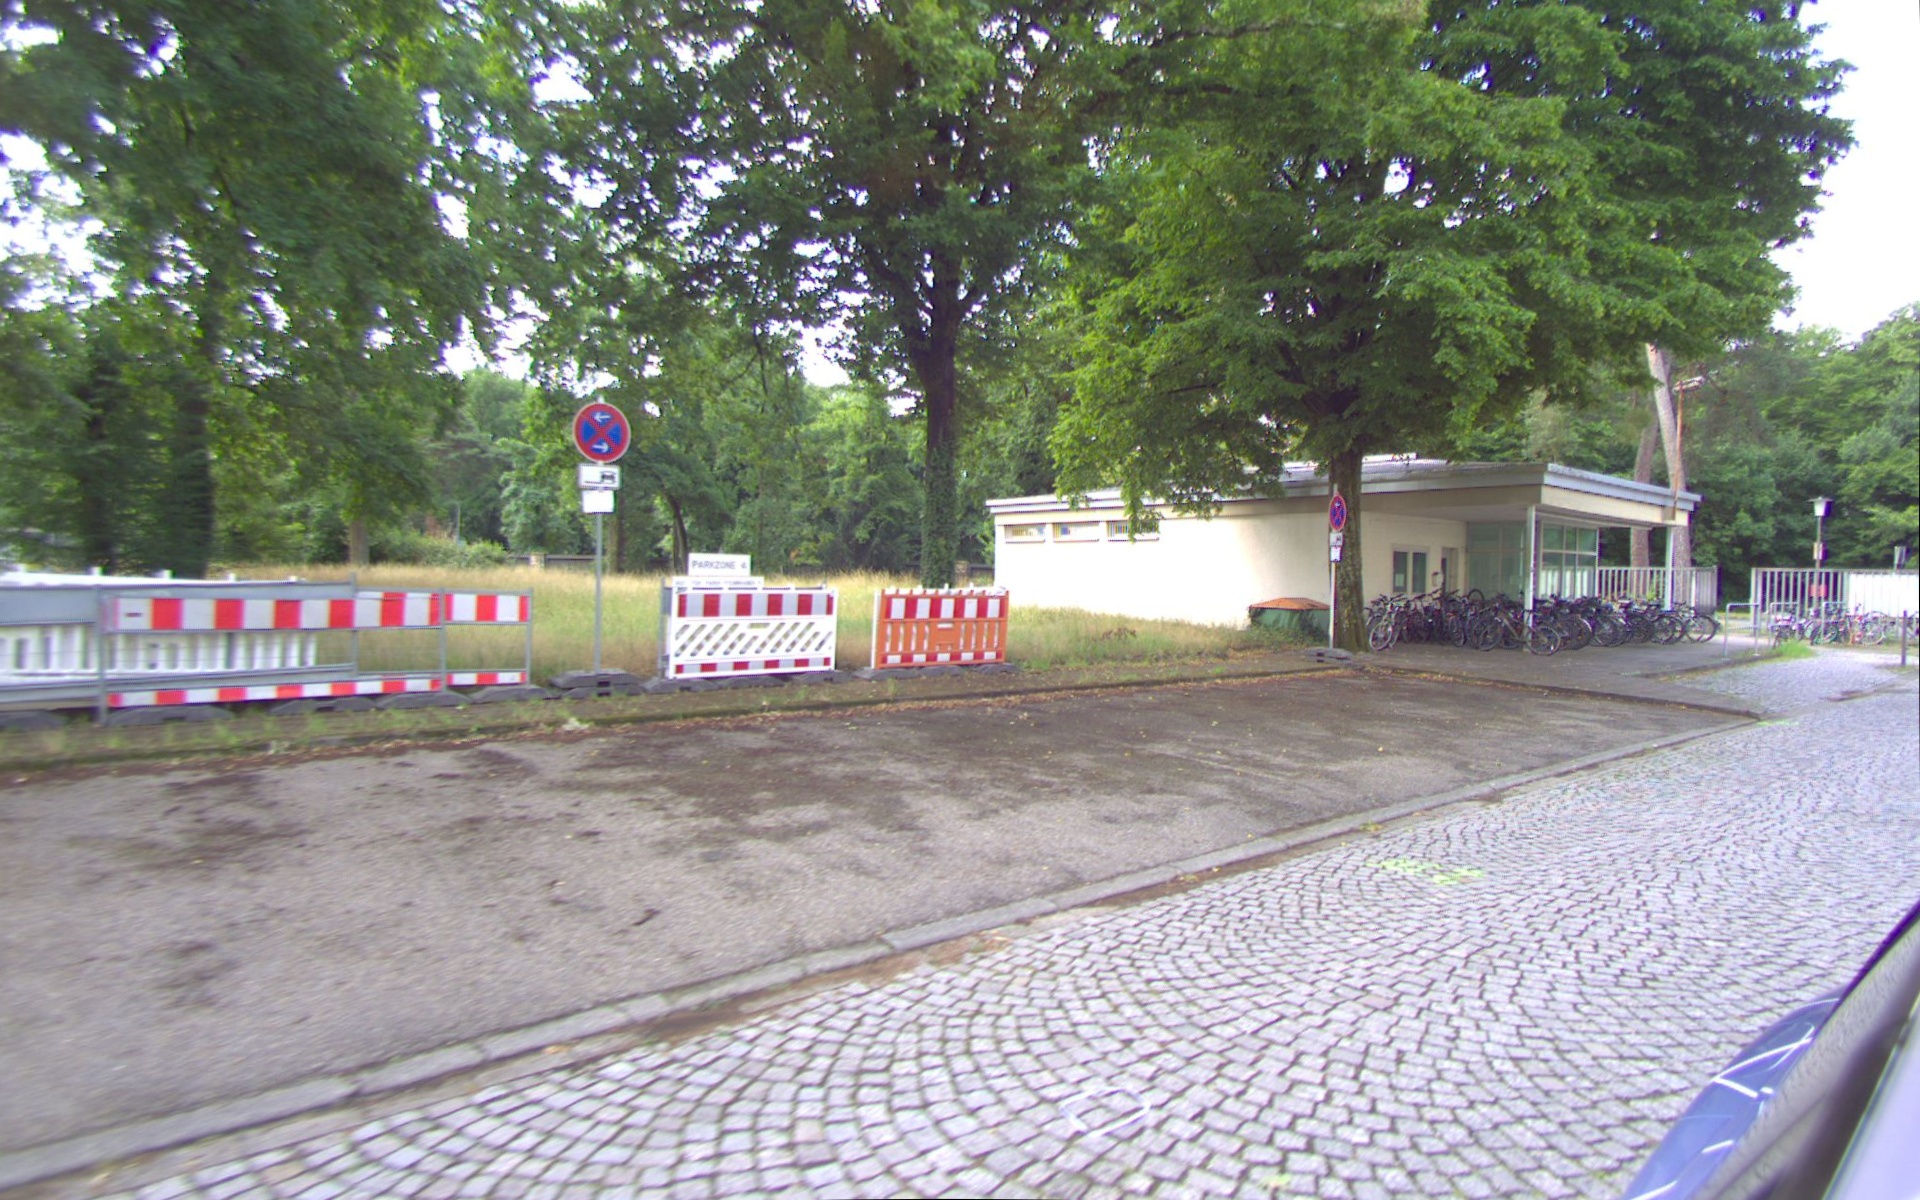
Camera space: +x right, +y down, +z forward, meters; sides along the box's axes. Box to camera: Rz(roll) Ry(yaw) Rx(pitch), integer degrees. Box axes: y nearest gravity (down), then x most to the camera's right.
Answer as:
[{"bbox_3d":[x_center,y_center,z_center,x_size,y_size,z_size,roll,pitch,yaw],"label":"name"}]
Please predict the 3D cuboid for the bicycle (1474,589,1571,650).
[{"bbox_3d":[11.567,0.384,20.834,1.673,1.122,0.334,4,3,38],"label":"bicycle"}]

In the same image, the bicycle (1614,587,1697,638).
[{"bbox_3d":[17.366,0.298,25.295,1.613,1.155,0.320,5,3,44],"label":"bicycle"}]

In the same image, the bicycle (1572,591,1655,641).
[{"bbox_3d":[15.678,0.371,24.313,1.592,1.062,0.320,5,3,44],"label":"bicycle"}]

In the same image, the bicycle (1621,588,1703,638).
[{"bbox_3d":[17.735,0.311,25.592,1.613,1.155,0.350,5,3,44],"label":"bicycle"}]

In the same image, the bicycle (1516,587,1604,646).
[{"bbox_3d":[13.548,0.348,22.882,1.627,1.204,0.414,4,3,39],"label":"bicycle"}]

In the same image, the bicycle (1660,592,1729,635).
[{"bbox_3d":[19.123,0.342,26.375,1.391,1.059,0.336,1,1,25],"label":"bicycle"}]

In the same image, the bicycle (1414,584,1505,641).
[{"bbox_3d":[11.472,0.277,23.297,0.598,1.179,1.743,0,3,-43],"label":"bicycle"}]

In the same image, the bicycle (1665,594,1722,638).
[{"bbox_3d":[18.876,0.396,26.052,1.144,1.076,0.284,2,1,30],"label":"bicycle"}]

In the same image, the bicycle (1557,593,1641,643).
[{"bbox_3d":[15.139,0.406,24.013,1.626,1.062,0.330,4,3,37],"label":"bicycle"}]

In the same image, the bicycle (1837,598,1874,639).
[{"bbox_3d":[24.637,0.487,27.849,1.701,1.070,0.474,0,2,-39],"label":"bicycle"}]

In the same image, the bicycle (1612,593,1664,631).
[{"bbox_3d":[18.950,0.342,28.284,1.328,1.023,0.406,1,1,-16],"label":"bicycle"}]

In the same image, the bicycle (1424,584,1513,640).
[{"bbox_3d":[12.050,0.266,24.019,0.598,1.179,1.743,0,3,-43],"label":"bicycle"}]

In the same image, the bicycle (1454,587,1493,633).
[{"bbox_3d":[12.719,0.229,25.054,0.478,1.089,1.658,4,3,39],"label":"bicycle"}]

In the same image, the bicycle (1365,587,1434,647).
[{"bbox_3d":[8.831,0.328,20.306,1.606,1.130,0.598,0,3,-41],"label":"bicycle"}]

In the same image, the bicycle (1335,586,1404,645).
[{"bbox_3d":[8.415,0.300,20.778,1.606,1.130,0.598,0,3,-41],"label":"bicycle"}]

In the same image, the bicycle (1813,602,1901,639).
[{"bbox_3d":[26.154,0.578,29.522,0.495,0.951,1.864,0,3,-44],"label":"bicycle"}]

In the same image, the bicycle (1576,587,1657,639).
[{"bbox_3d":[15.967,0.296,24.644,1.592,1.155,0.320,5,3,44],"label":"bicycle"}]

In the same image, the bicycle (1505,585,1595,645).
[{"bbox_3d":[13.087,0.317,22.467,1.627,1.204,0.467,4,3,38],"label":"bicycle"}]

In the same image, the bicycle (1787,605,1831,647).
[{"bbox_3d":[20.920,0.628,24.929,1.625,0.964,0.535,-1,2,-39],"label":"bicycle"}]

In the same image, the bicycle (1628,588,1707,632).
[{"bbox_3d":[19.254,0.253,27.547,1.711,1.146,0.473,1,1,7],"label":"bicycle"}]

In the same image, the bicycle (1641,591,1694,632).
[{"bbox_3d":[20.300,0.320,29.040,1.648,1.152,0.649,0,2,-33],"label":"bicycle"}]

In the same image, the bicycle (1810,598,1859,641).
[{"bbox_3d":[23.190,0.505,26.831,1.537,1.075,0.692,0,2,-39],"label":"bicycle"}]

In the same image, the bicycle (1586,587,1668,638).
[{"bbox_3d":[16.495,0.290,25.039,1.613,1.155,0.320,5,3,44],"label":"bicycle"}]

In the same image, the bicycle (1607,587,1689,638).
[{"bbox_3d":[17.041,0.301,25.095,1.613,1.155,0.320,5,3,44],"label":"bicycle"}]

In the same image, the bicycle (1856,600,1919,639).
[{"bbox_3d":[27.258,0.562,29.423,0.380,1.046,1.731,0,3,-38],"label":"bicycle"}]

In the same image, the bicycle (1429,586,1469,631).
[{"bbox_3d":[12.310,0.195,25.455,0.478,1.089,1.658,4,3,39],"label":"bicycle"}]

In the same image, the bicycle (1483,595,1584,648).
[{"bbox_3d":[12.162,0.447,21.514,1.725,0.988,0.754,3,3,21],"label":"bicycle"}]

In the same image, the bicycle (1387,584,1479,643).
[{"bbox_3d":[10.614,0.285,22.753,0.598,1.179,1.743,0,3,-43],"label":"bicycle"}]

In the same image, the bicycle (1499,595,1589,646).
[{"bbox_3d":[12.675,0.434,21.993,1.615,0.988,0.320,3,2,21],"label":"bicycle"}]

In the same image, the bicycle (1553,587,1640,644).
[{"bbox_3d":[14.799,0.337,23.545,1.627,1.204,0.492,4,3,39],"label":"bicycle"}]

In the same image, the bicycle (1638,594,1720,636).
[{"bbox_3d":[19.153,0.391,26.974,1.723,1.059,0.453,1,1,12],"label":"bicycle"}]

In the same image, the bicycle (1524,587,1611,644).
[{"bbox_3d":[13.976,0.341,23.308,1.627,1.204,0.414,4,3,39],"label":"bicycle"}]

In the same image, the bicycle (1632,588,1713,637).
[{"bbox_3d":[18.268,0.306,25.958,1.613,1.155,0.350,5,3,44],"label":"bicycle"}]
